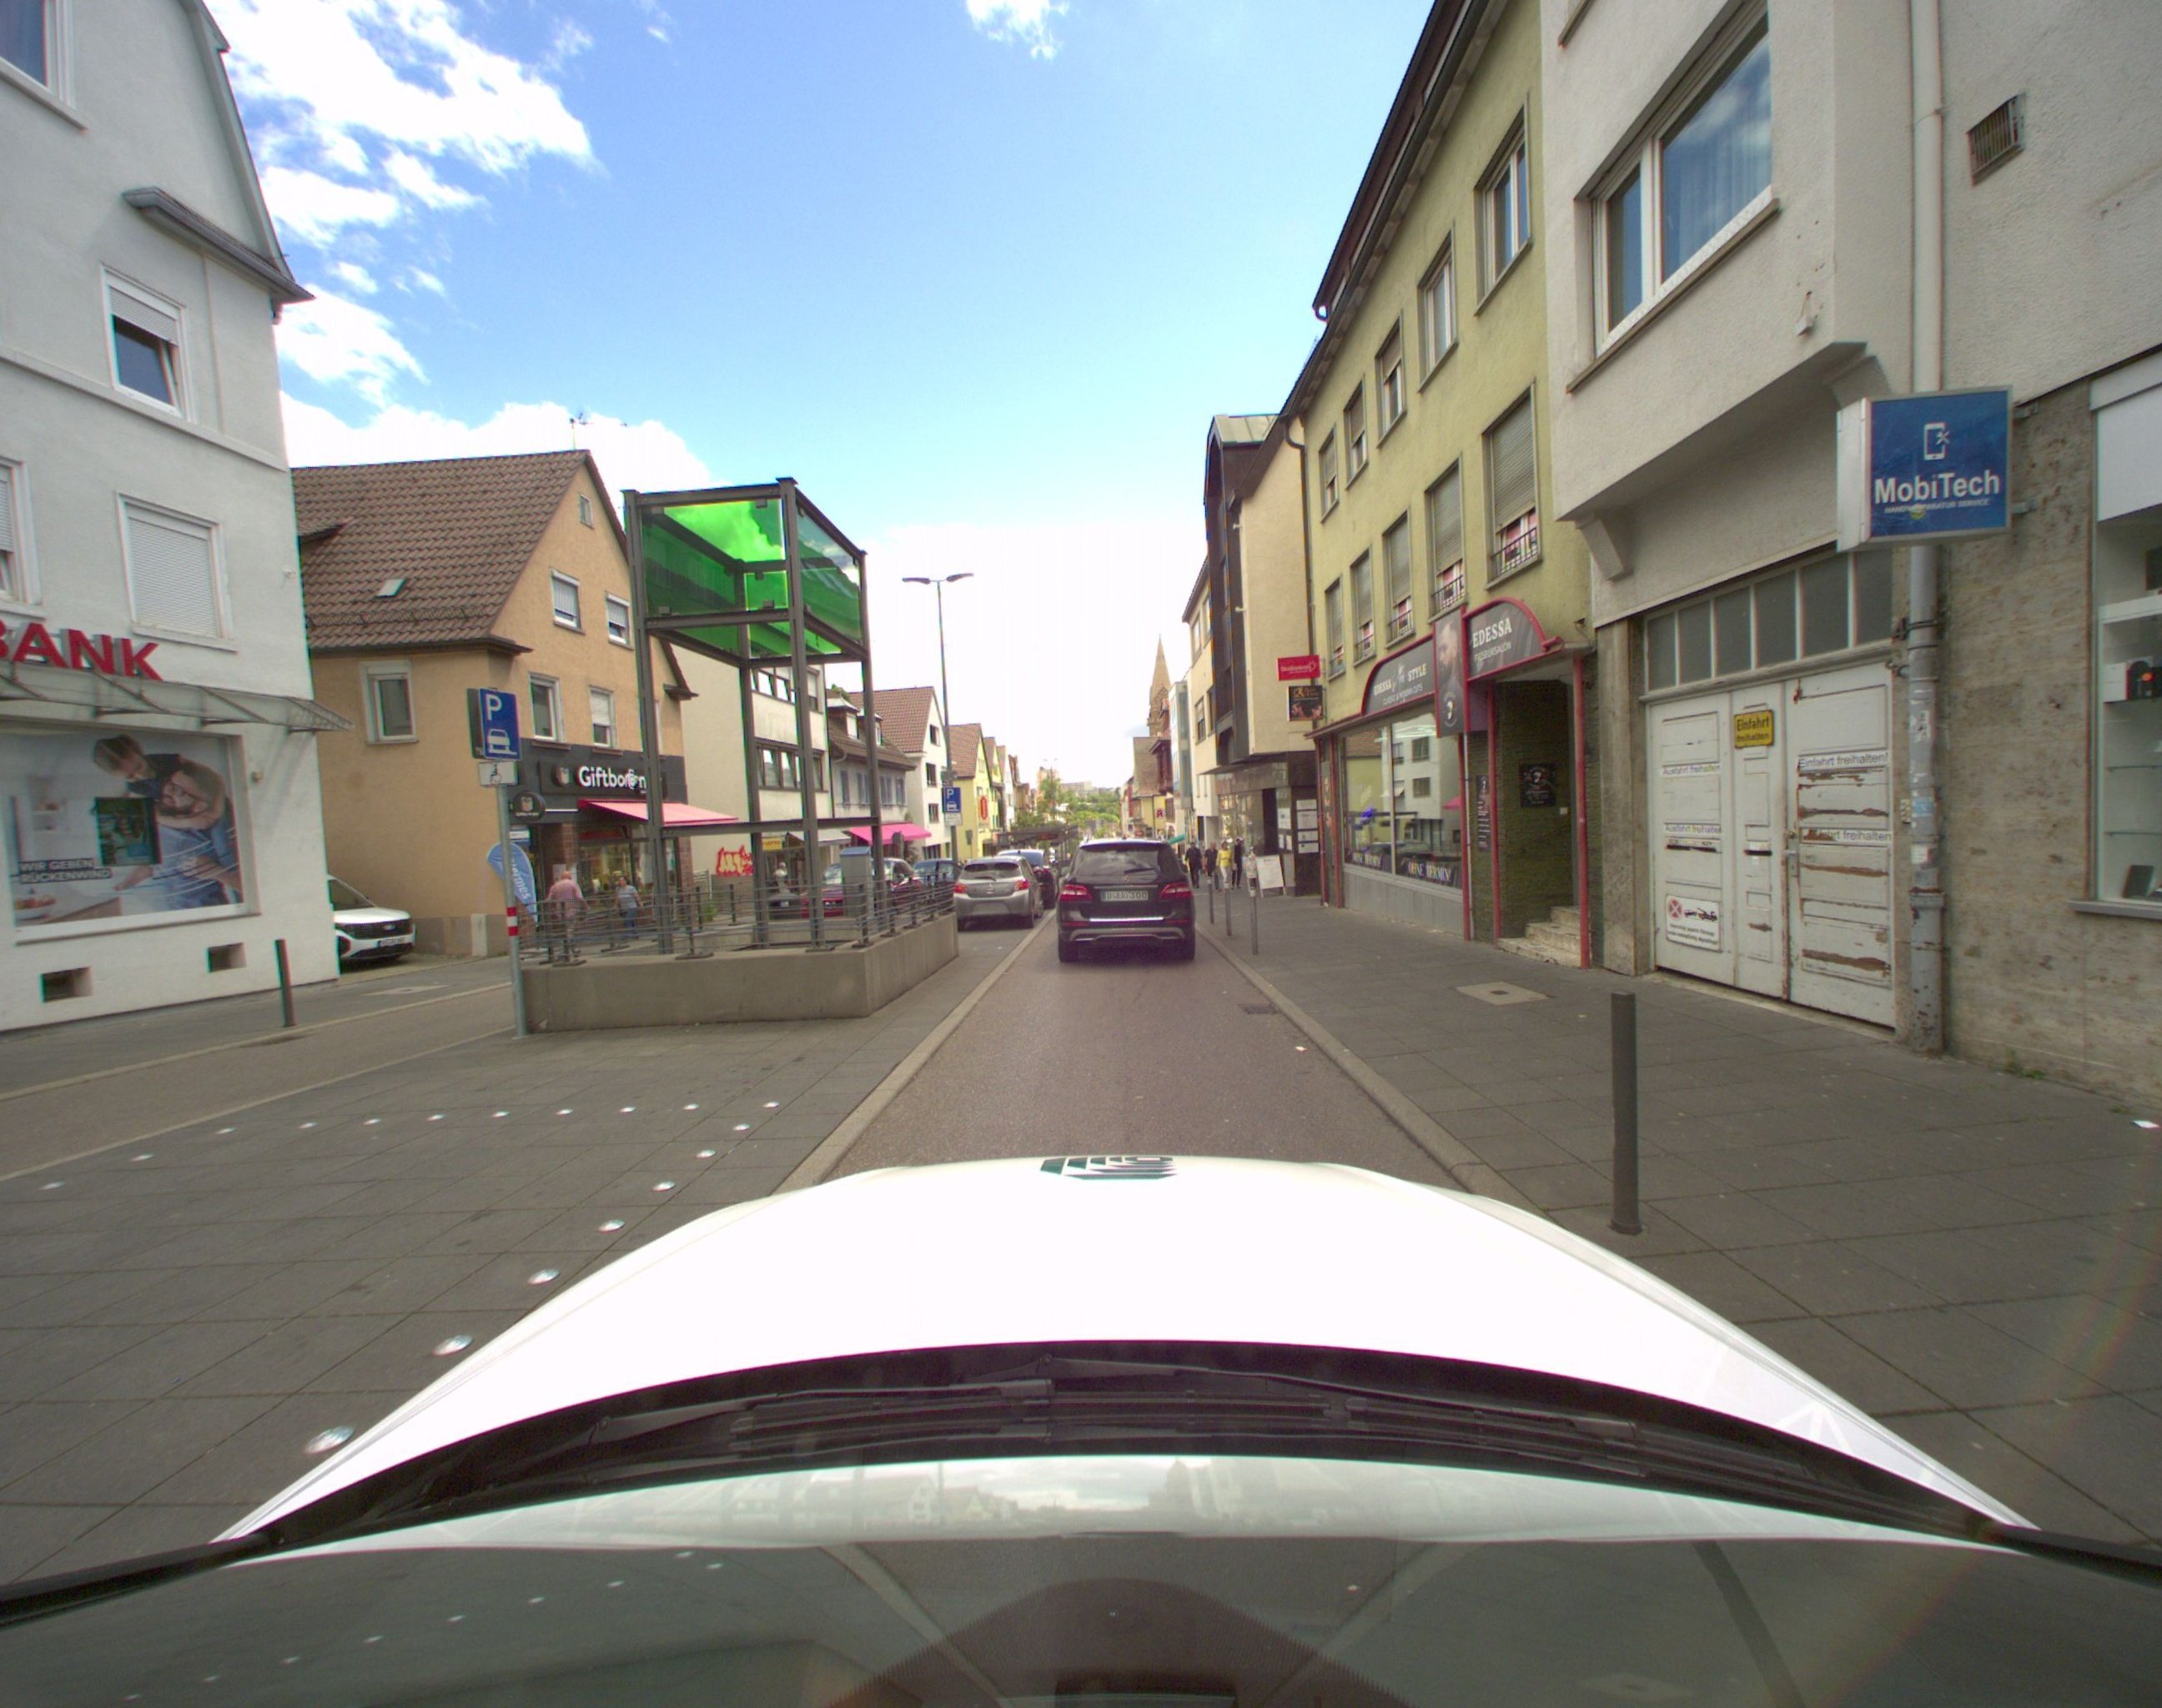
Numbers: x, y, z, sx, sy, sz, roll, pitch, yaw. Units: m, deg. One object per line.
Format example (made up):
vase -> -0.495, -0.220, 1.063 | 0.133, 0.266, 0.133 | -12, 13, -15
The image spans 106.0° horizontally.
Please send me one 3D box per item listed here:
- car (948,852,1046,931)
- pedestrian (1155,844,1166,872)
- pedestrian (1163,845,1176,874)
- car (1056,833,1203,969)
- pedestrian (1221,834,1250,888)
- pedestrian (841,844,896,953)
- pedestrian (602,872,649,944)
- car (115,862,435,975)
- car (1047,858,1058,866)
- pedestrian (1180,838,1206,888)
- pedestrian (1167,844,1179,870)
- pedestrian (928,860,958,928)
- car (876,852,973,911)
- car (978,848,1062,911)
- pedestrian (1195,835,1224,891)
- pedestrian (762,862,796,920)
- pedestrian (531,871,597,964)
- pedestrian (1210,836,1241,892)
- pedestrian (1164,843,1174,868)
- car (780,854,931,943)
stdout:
car -> -1.718, 0.730, 17.690 | 1.614, 1.532, 3.672 | -1, 0, 2
pedestrian -> 5.119, 0.255, 52.584 | 0.541, 1.726, 0.527 | -3, 0, -5
pedestrian -> 5.252, 0.323, 48.264 | 0.620, 1.689, 0.565 | -1, 0, -5
car -> 0.637, 0.607, 12.556 | 1.894, 1.747, 3.999 | -1, 0, 0
pedestrian -> 5.107, 0.230, 26.905 | 0.662, 1.689, 0.542 | -6, 0, -5
pedestrian -> -3.398, 0.692, 13.093 | 0.531, 1.672, 0.902 | -2, 0, 5
pedestrian -> -10.447, 1.217, 18.698 | 0.563, 1.573, 0.717 | -4, 0, 2
car -> -14.724, 1.127, 15.049 | 4.054, 1.873, 1.884 | 1, 0, 2
car -> -4.177, 1.183, 119.390 | 1.383, 1.070, 3.114 | -3, 0, 2
pedestrian -> 4.088, 0.332, 29.760 | 0.708, 1.753, 0.787 | -4, 0, 2
pedestrian -> 6.095, 0.172, 53.895 | 0.572, 1.689, 0.565 | -4, 0, -5
pedestrian -> -3.002, 0.855, 17.771 | 0.464, 1.431, 0.492 | -4, 0, 1
car -> -4.341, 0.718, 23.202 | 1.731, 1.475, 3.889 | 0, 1, 4
car -> -1.635, 0.666, 23.428 | 1.949, 1.639, 4.316 | -1, 0, 2
pedestrian -> 4.184, 0.299, 26.556 | 0.708, 1.753, 0.785 | -4, 0, 2
pedestrian -> -9.064, 1.104, 24.452 | 0.638, 1.689, 0.670 | -2, 1, 41
pedestrian -> -9.772, 1.179, 15.427 | 0.636, 1.689, 0.829 | -2, 0, 6
pedestrian -> 4.368, 0.297, 24.640 | 0.708, 1.631, 0.835 | -4, 0, 2
pedestrian -> 5.936, 0.102, 54.852 | 0.572, 1.689, 0.565 | -1, 0, -5
car -> -4.330, 0.776, 16.342 | 1.732, 1.543, 4.195 | -1, 0, 2
